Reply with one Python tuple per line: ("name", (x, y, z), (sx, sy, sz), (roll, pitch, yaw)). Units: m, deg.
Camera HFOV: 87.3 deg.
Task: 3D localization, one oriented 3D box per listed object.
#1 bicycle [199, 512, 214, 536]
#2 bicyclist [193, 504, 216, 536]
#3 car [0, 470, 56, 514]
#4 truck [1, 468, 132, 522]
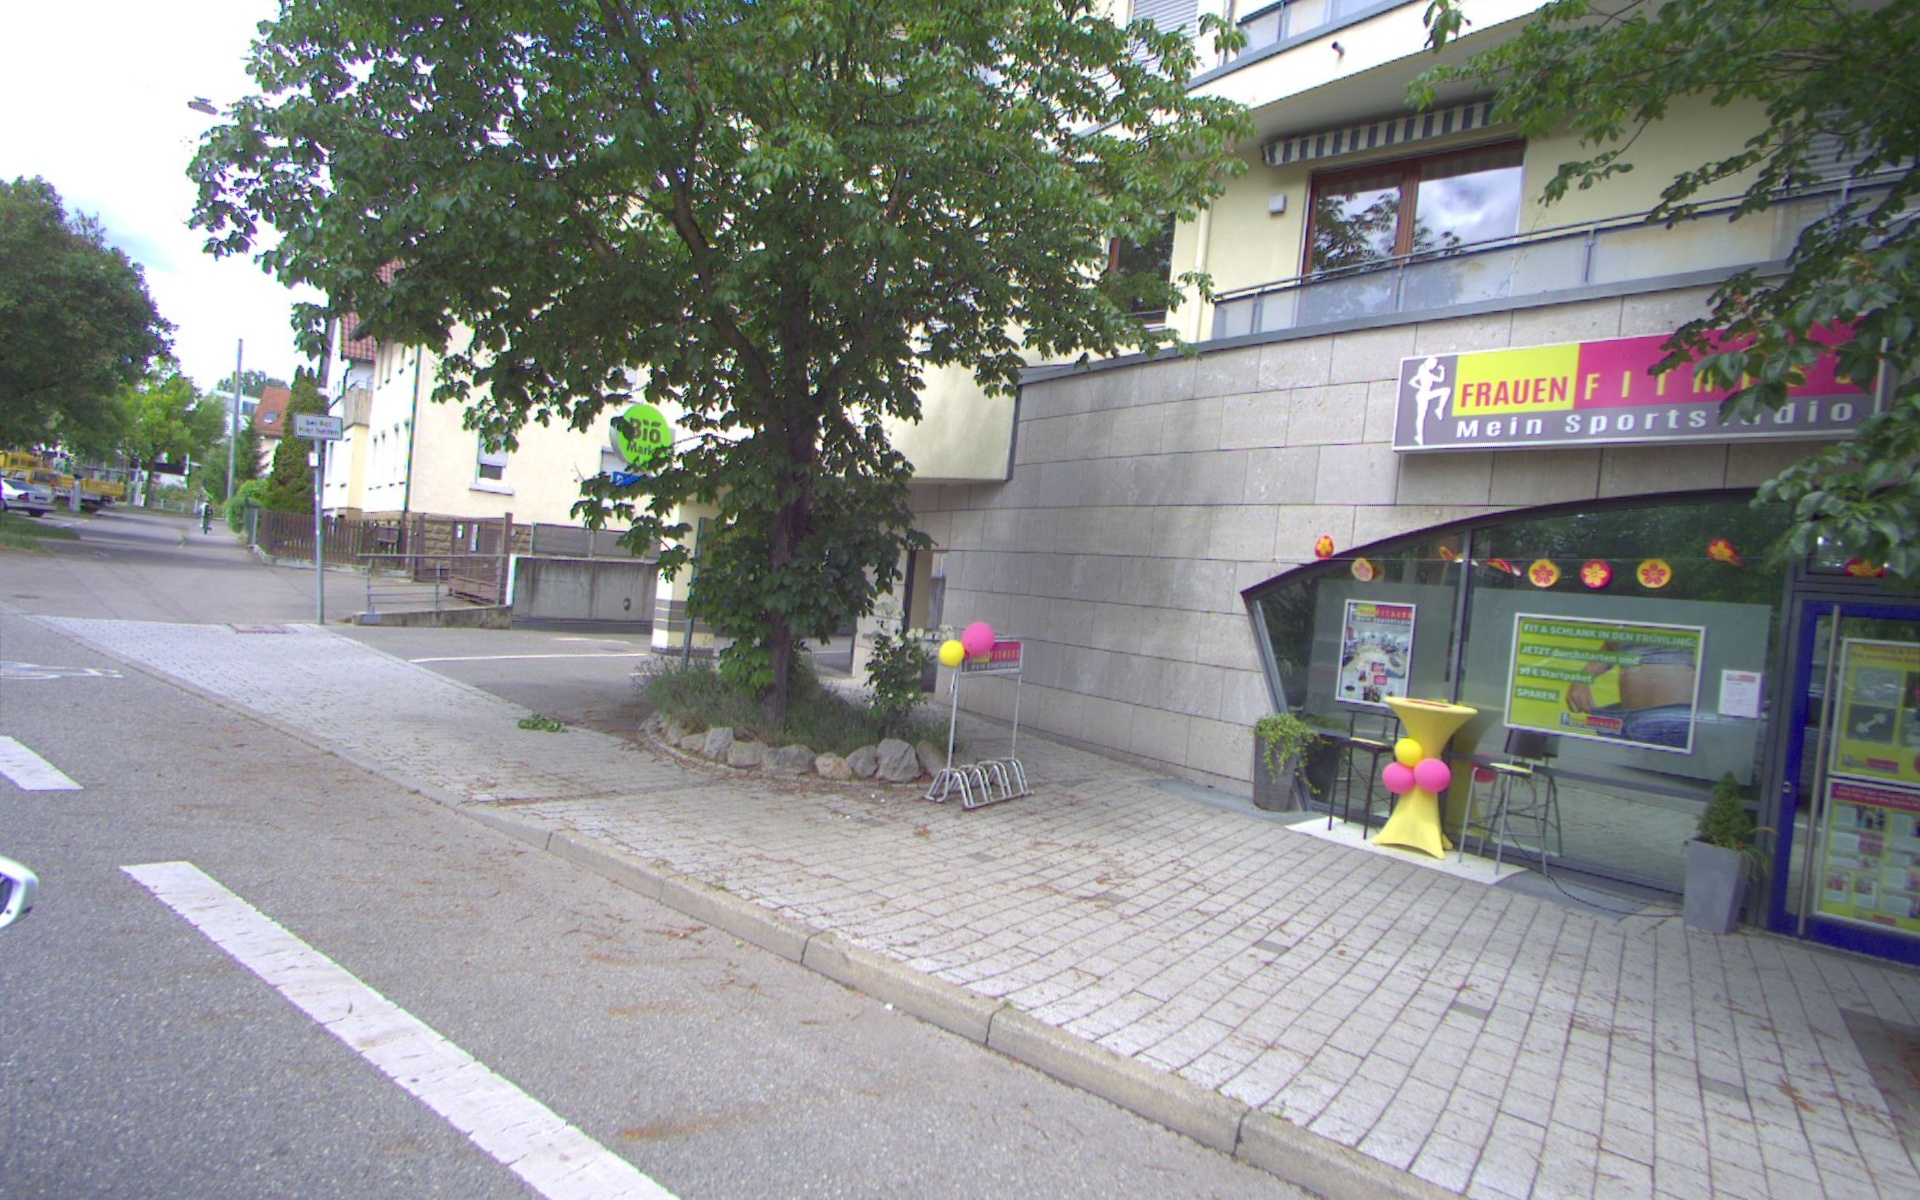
("bicycle", (-35.852, -3.606, 47.870), (0.459, 1.047, 2.735), (6, -1, -37))
("bicyclist", (-35.876, -3.792, 47.772), (0.774, 1.416, 0.695), (6, 0, -39))
("car", (-53.243, -6.134, 56.405), (1.712, 2.038, 3.765), (6, -1, -6))
("truck", (-48.511, -5.647, 54.837), (2.050, 2.038, 5.615), (6, -1, -1))
